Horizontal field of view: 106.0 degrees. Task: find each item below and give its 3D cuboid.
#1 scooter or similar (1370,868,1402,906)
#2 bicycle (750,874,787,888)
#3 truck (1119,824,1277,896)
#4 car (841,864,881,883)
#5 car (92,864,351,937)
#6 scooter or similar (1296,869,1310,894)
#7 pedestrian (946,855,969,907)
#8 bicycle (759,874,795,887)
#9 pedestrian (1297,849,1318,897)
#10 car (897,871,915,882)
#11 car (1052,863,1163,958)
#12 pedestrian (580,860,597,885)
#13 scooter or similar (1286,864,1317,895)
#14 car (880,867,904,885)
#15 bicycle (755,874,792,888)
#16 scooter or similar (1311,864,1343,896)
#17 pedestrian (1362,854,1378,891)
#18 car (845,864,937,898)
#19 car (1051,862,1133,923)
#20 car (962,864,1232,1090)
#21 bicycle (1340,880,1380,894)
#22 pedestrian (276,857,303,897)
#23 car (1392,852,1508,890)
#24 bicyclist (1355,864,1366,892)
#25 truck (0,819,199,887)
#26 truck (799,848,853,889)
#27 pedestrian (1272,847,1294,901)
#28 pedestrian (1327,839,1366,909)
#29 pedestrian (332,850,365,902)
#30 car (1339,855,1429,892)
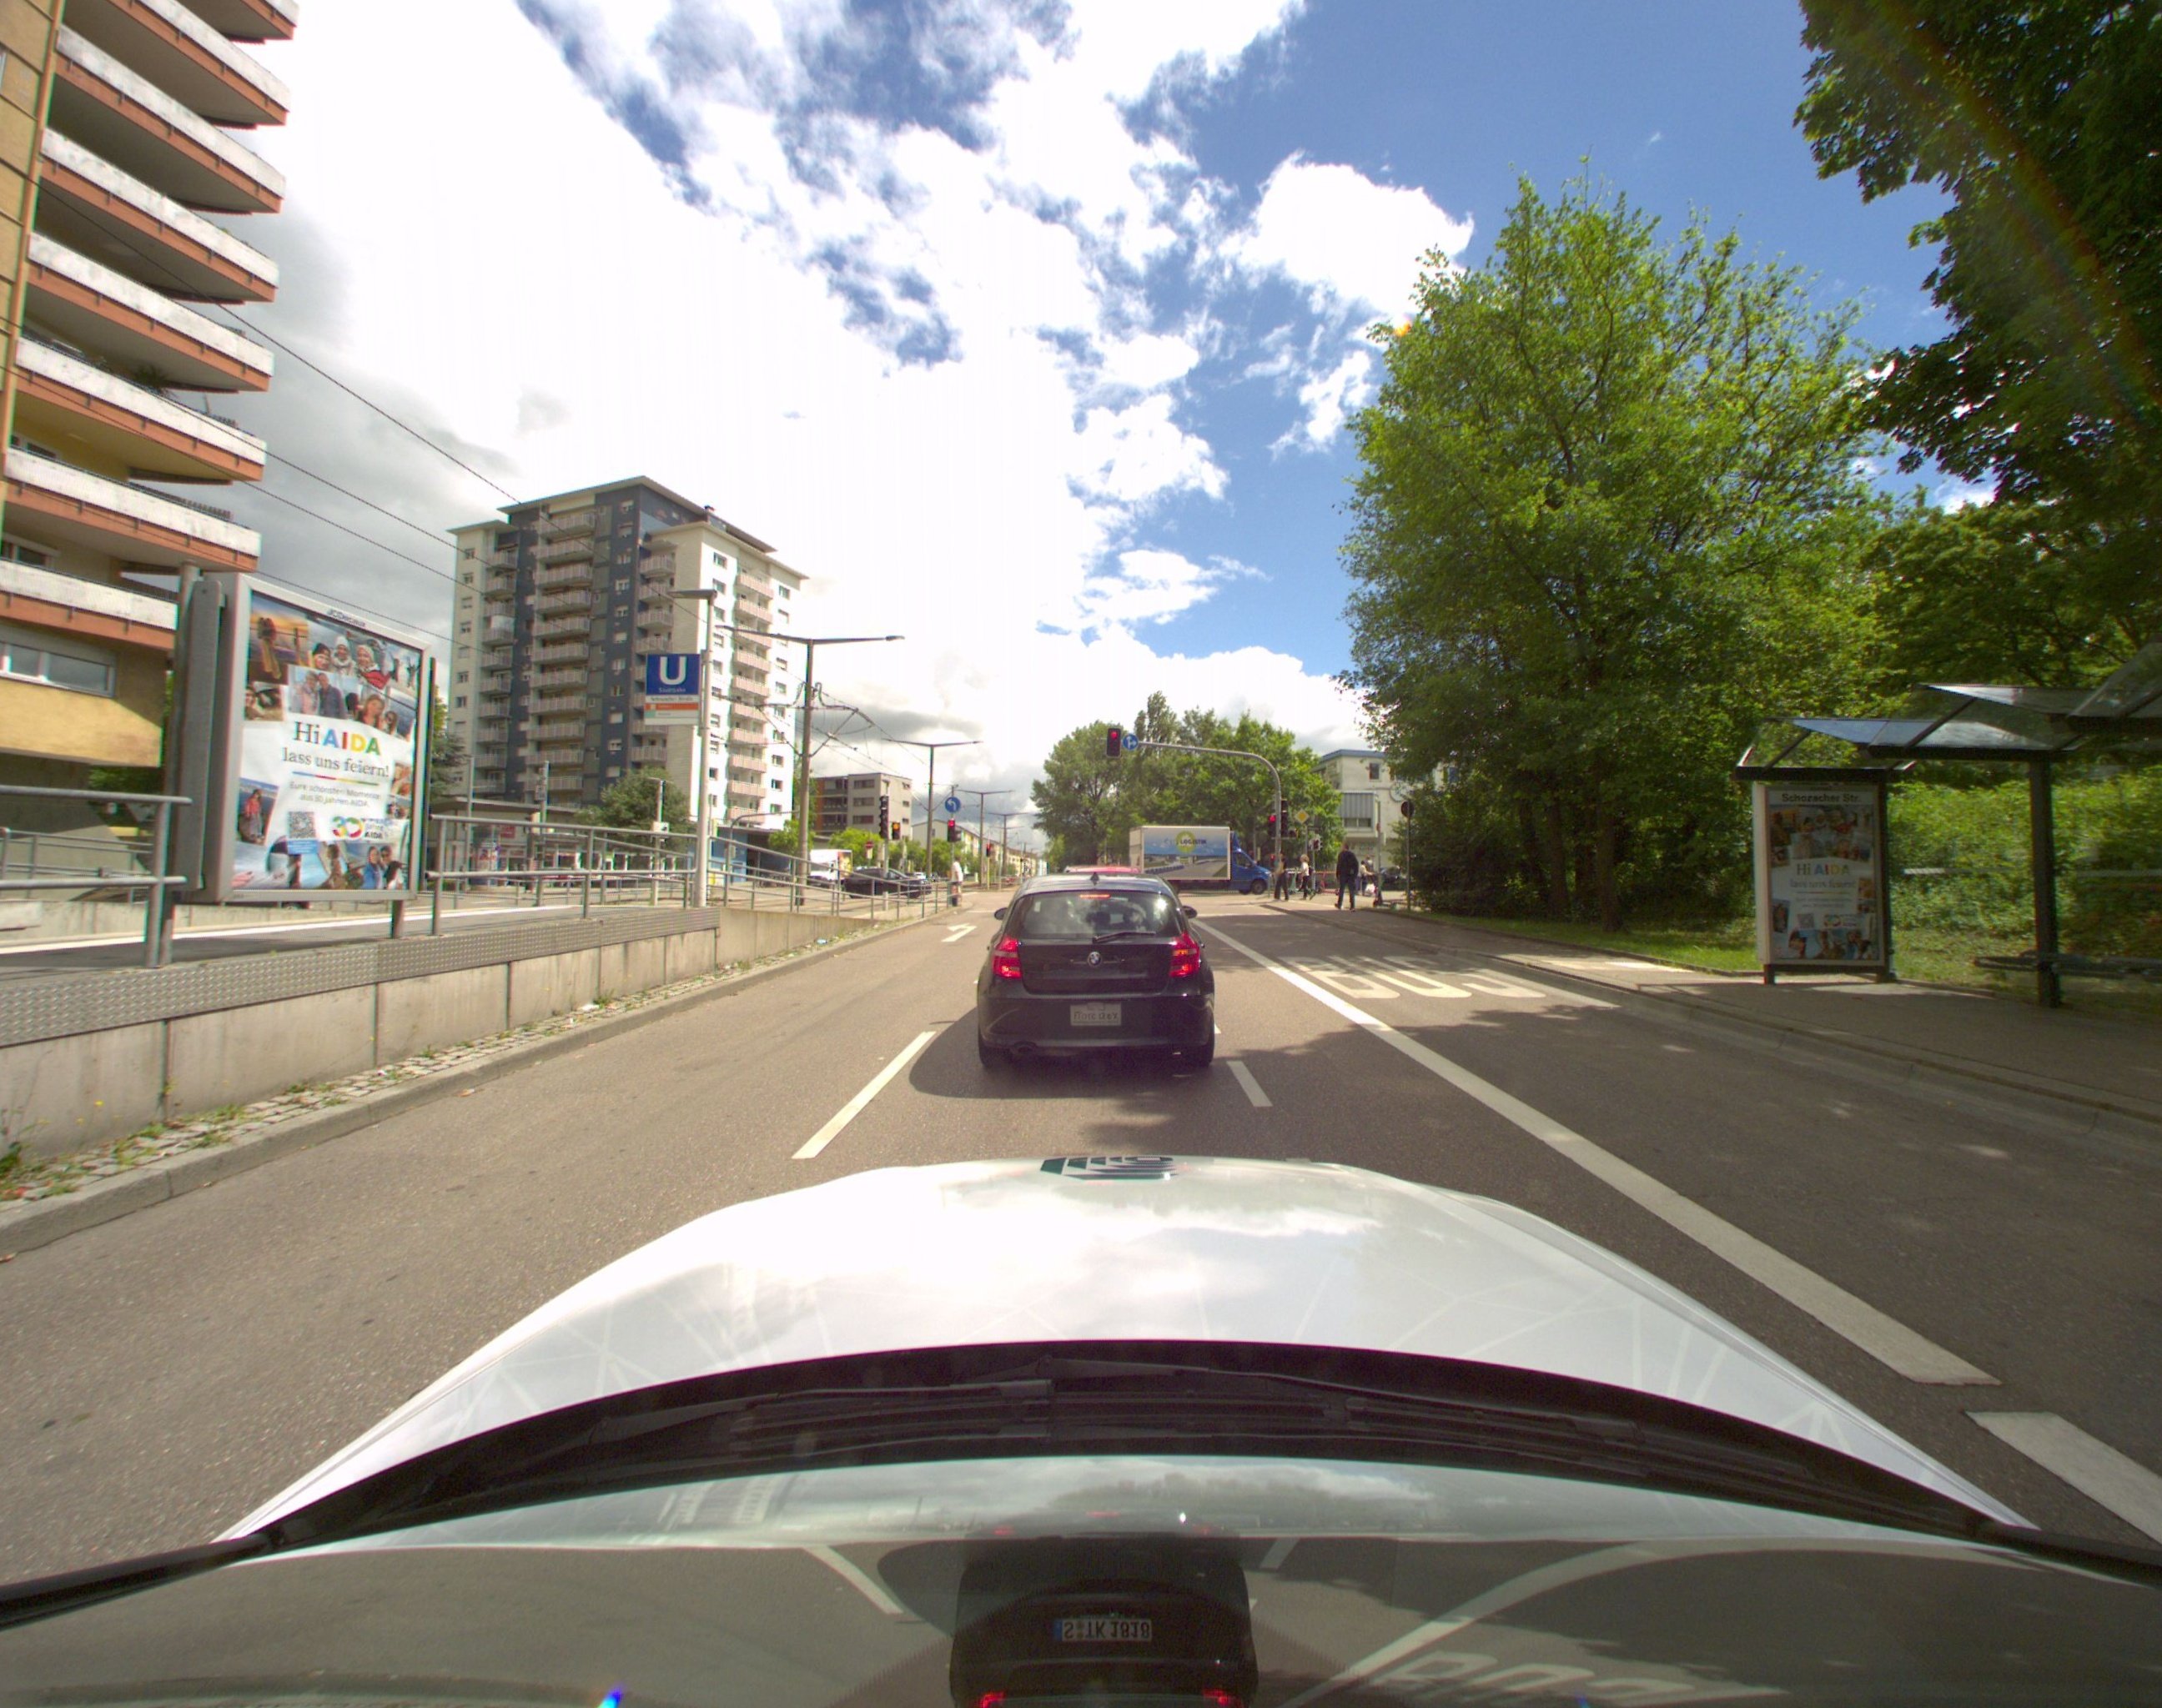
[{"bbox_3d":[10.648,1.151,28.446,0.886,1.230,0.455,4,-1,2],"label":"scooter or similar"},{"bbox_3d":[-24.110,2.103,62.771,2.570,1.009,0.749,2,-3,-27],"label":"bicycle"},{"bbox_3d":[5.713,0.264,40.139,7.274,3.348,2.597,0,-1,-12],"label":"truck"},{"bbox_3d":[-24.296,2.135,90.144,3.945,1.975,1.637,0,-1,-41],"label":"car"},{"bbox_3d":[-18.819,0.950,18.122,1.573,1.405,3.866,-1,-1,2],"label":"car"},{"bbox_3d":[9.483,1.163,34.799,0.543,1.064,1.267,0,-1,16],"label":"scooter or similar"},{"bbox_3d":[-4.223,0.904,27.818,0.685,1.734,0.687,0,-1,-2],"label":"pedestrian"},{"bbox_3d":[-24.272,2.143,65.078,2.570,1.009,0.749,2,-3,-27],"label":"bicycle"},{"bbox_3d":[8.444,0.715,30.409,0.633,1.766,0.518,0,-1,2],"label":"pedestrian"},{"bbox_3d":[-24.140,3.052,112.663,1.586,1.474,3.775,0,-1,1],"label":"car"},{"bbox_3d":[0.446,0.854,13.741,1.632,1.400,3.421,0,-1,2],"label":"car"},{"bbox_3d":[-39.522,1.471,65.304,0.851,2.014,0.852,-1,-1,29],"label":"pedestrian"},{"bbox_3d":[8.919,1.038,32.930,1.105,1.235,0.540,0,-1,4],"label":"scooter or similar"},{"bbox_3d":[-19.768,2.279,85.297,1.586,1.756,3.775,0,-1,1],"label":"car"},{"bbox_3d":[-24.149,2.133,63.974,2.570,1.009,0.749,2,-3,-27],"label":"bicycle"},{"bbox_3d":[10.182,1.063,33.695,1.145,1.272,0.556,1,-1,4],"label":"scooter or similar"},{"bbox_3d":[13.259,0.846,37.316,0.651,1.713,0.464,-1,-1,23],"label":"pedestrian"},{"bbox_3d":[-8.698,1.217,37.584,3.987,1.486,1.841,0,-1,-10],"label":"car"},{"bbox_3d":[0.335,0.918,21.218,1.893,1.422,4.540,0,-1,2],"label":"car"},{"bbox_3d":[0.154,0.797,6.840,1.694,1.400,3.421,0,-1,2],"label":"car"},{"bbox_3d":[11.916,1.406,34.761,1.571,0.610,0.537,-1,-1,22],"label":"bicycle"},{"bbox_3d":[-29.549,0.852,30.406,0.494,1.440,0.551,-1,-1,12],"label":"pedestrian"},{"bbox_3d":[19.016,0.883,42.072,5.166,1.893,1.995,0,-1,-8],"label":"car"},{"bbox_3d":[11.946,1.034,34.789,0.395,1.157,0.505,1,0,21],"label":"bicyclist"},{"bbox_3d":[-34.573,-0.023,28.757,4.262,2.290,2.352,0,-1,2],"label":"truck"},{"bbox_3d":[-20.526,1.187,65.994,2.275,3.118,7.312,0,-1,-2],"label":"truck"},{"bbox_3d":[7.120,0.710,28.731,0.633,1.876,0.518,0,-1,2],"label":"pedestrian"},{"bbox_3d":[7.358,0.552,22.588,0.792,1.876,1.014,-1,-1,3],"label":"pedestrian"},{"bbox_3d":[-25.375,0.770,28.218,0.650,1.776,0.667,-1,-1,30],"label":"pedestrian"},{"bbox_3d":[17.805,1.116,47.944,4.529,2.014,1.996,-1,-1,-6],"label":"car"}]
